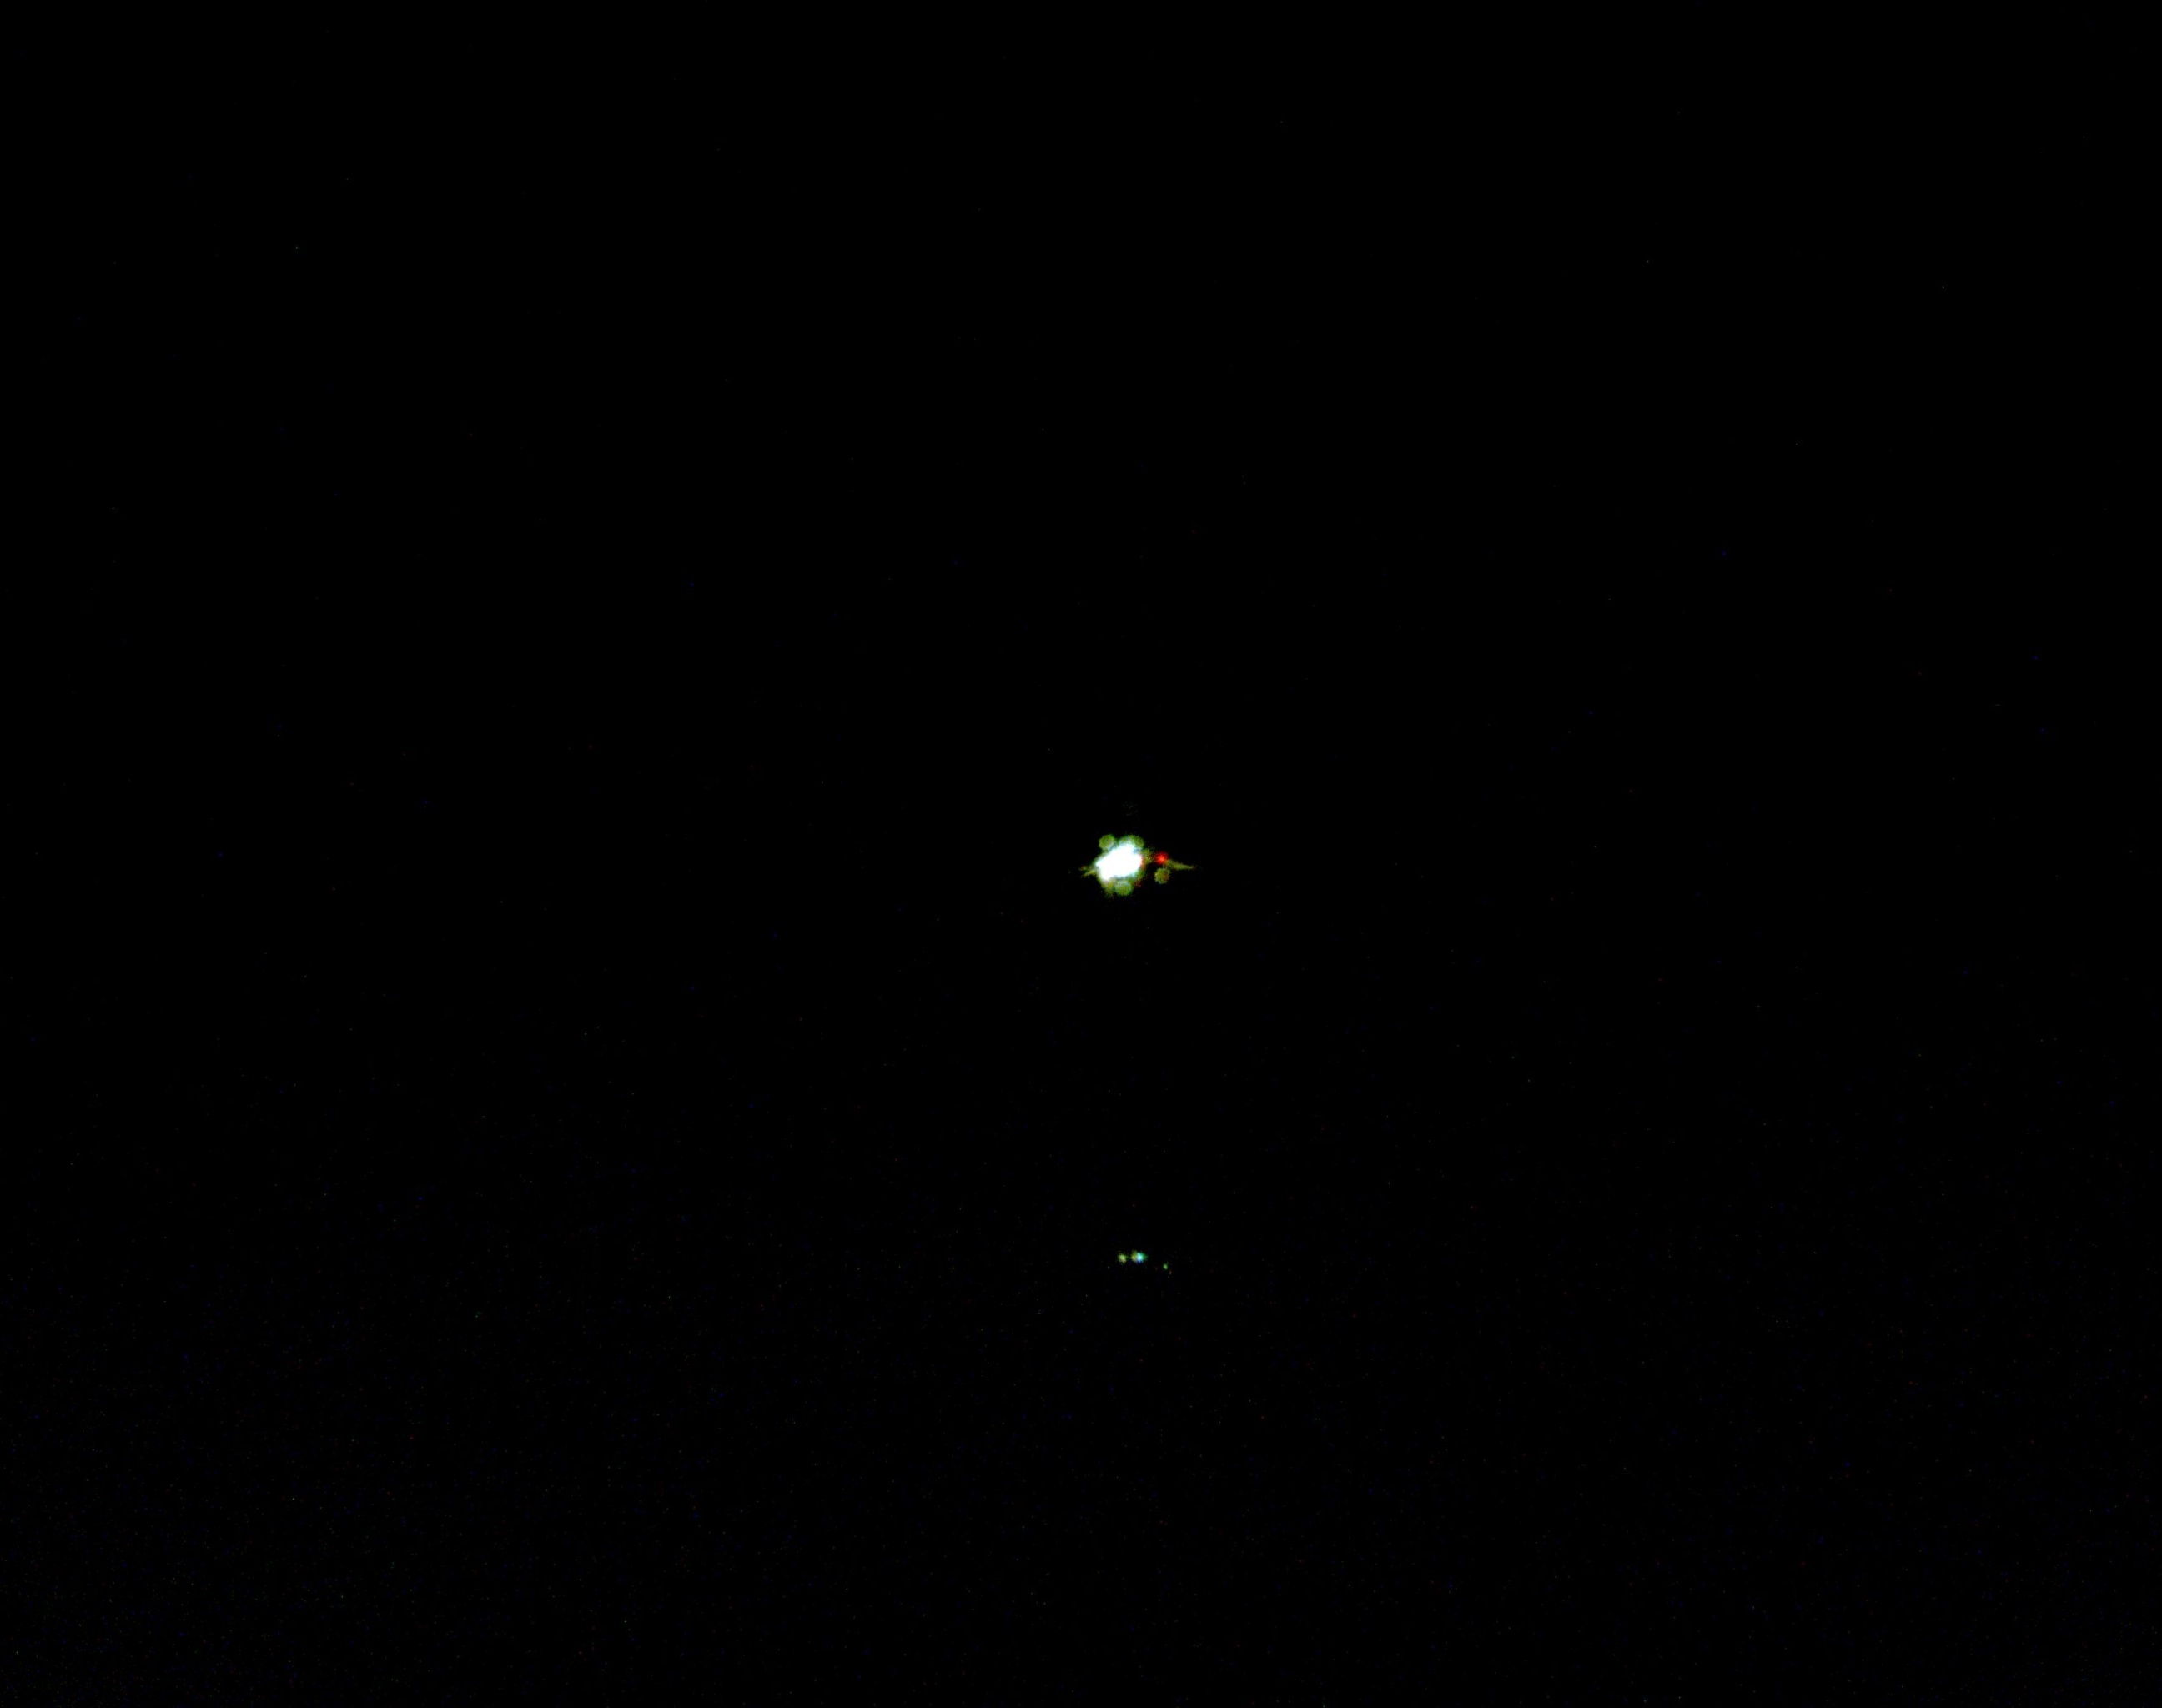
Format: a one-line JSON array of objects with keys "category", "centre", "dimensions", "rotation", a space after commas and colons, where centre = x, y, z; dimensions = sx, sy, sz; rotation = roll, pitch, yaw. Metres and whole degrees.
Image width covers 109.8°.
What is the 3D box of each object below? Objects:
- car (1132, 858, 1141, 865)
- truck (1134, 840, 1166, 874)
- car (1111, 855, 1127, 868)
[{"category": "car", "centre": [12.943, 1.678, 177.079], "dimensions": [1.746, 1.623, 3.736], "rotation": [-1, 0, 2]}, {"category": "truck", "centre": [5.308, 0.217, 59.314], "dimensions": [2.142, 2.520, 5.280], "rotation": [-2, 0, 3]}, {"category": "car", "centre": [4.804, 0.933, 95.480], "dimensions": [1.746, 1.623, 3.737], "rotation": [-1, 0, 6]}]
